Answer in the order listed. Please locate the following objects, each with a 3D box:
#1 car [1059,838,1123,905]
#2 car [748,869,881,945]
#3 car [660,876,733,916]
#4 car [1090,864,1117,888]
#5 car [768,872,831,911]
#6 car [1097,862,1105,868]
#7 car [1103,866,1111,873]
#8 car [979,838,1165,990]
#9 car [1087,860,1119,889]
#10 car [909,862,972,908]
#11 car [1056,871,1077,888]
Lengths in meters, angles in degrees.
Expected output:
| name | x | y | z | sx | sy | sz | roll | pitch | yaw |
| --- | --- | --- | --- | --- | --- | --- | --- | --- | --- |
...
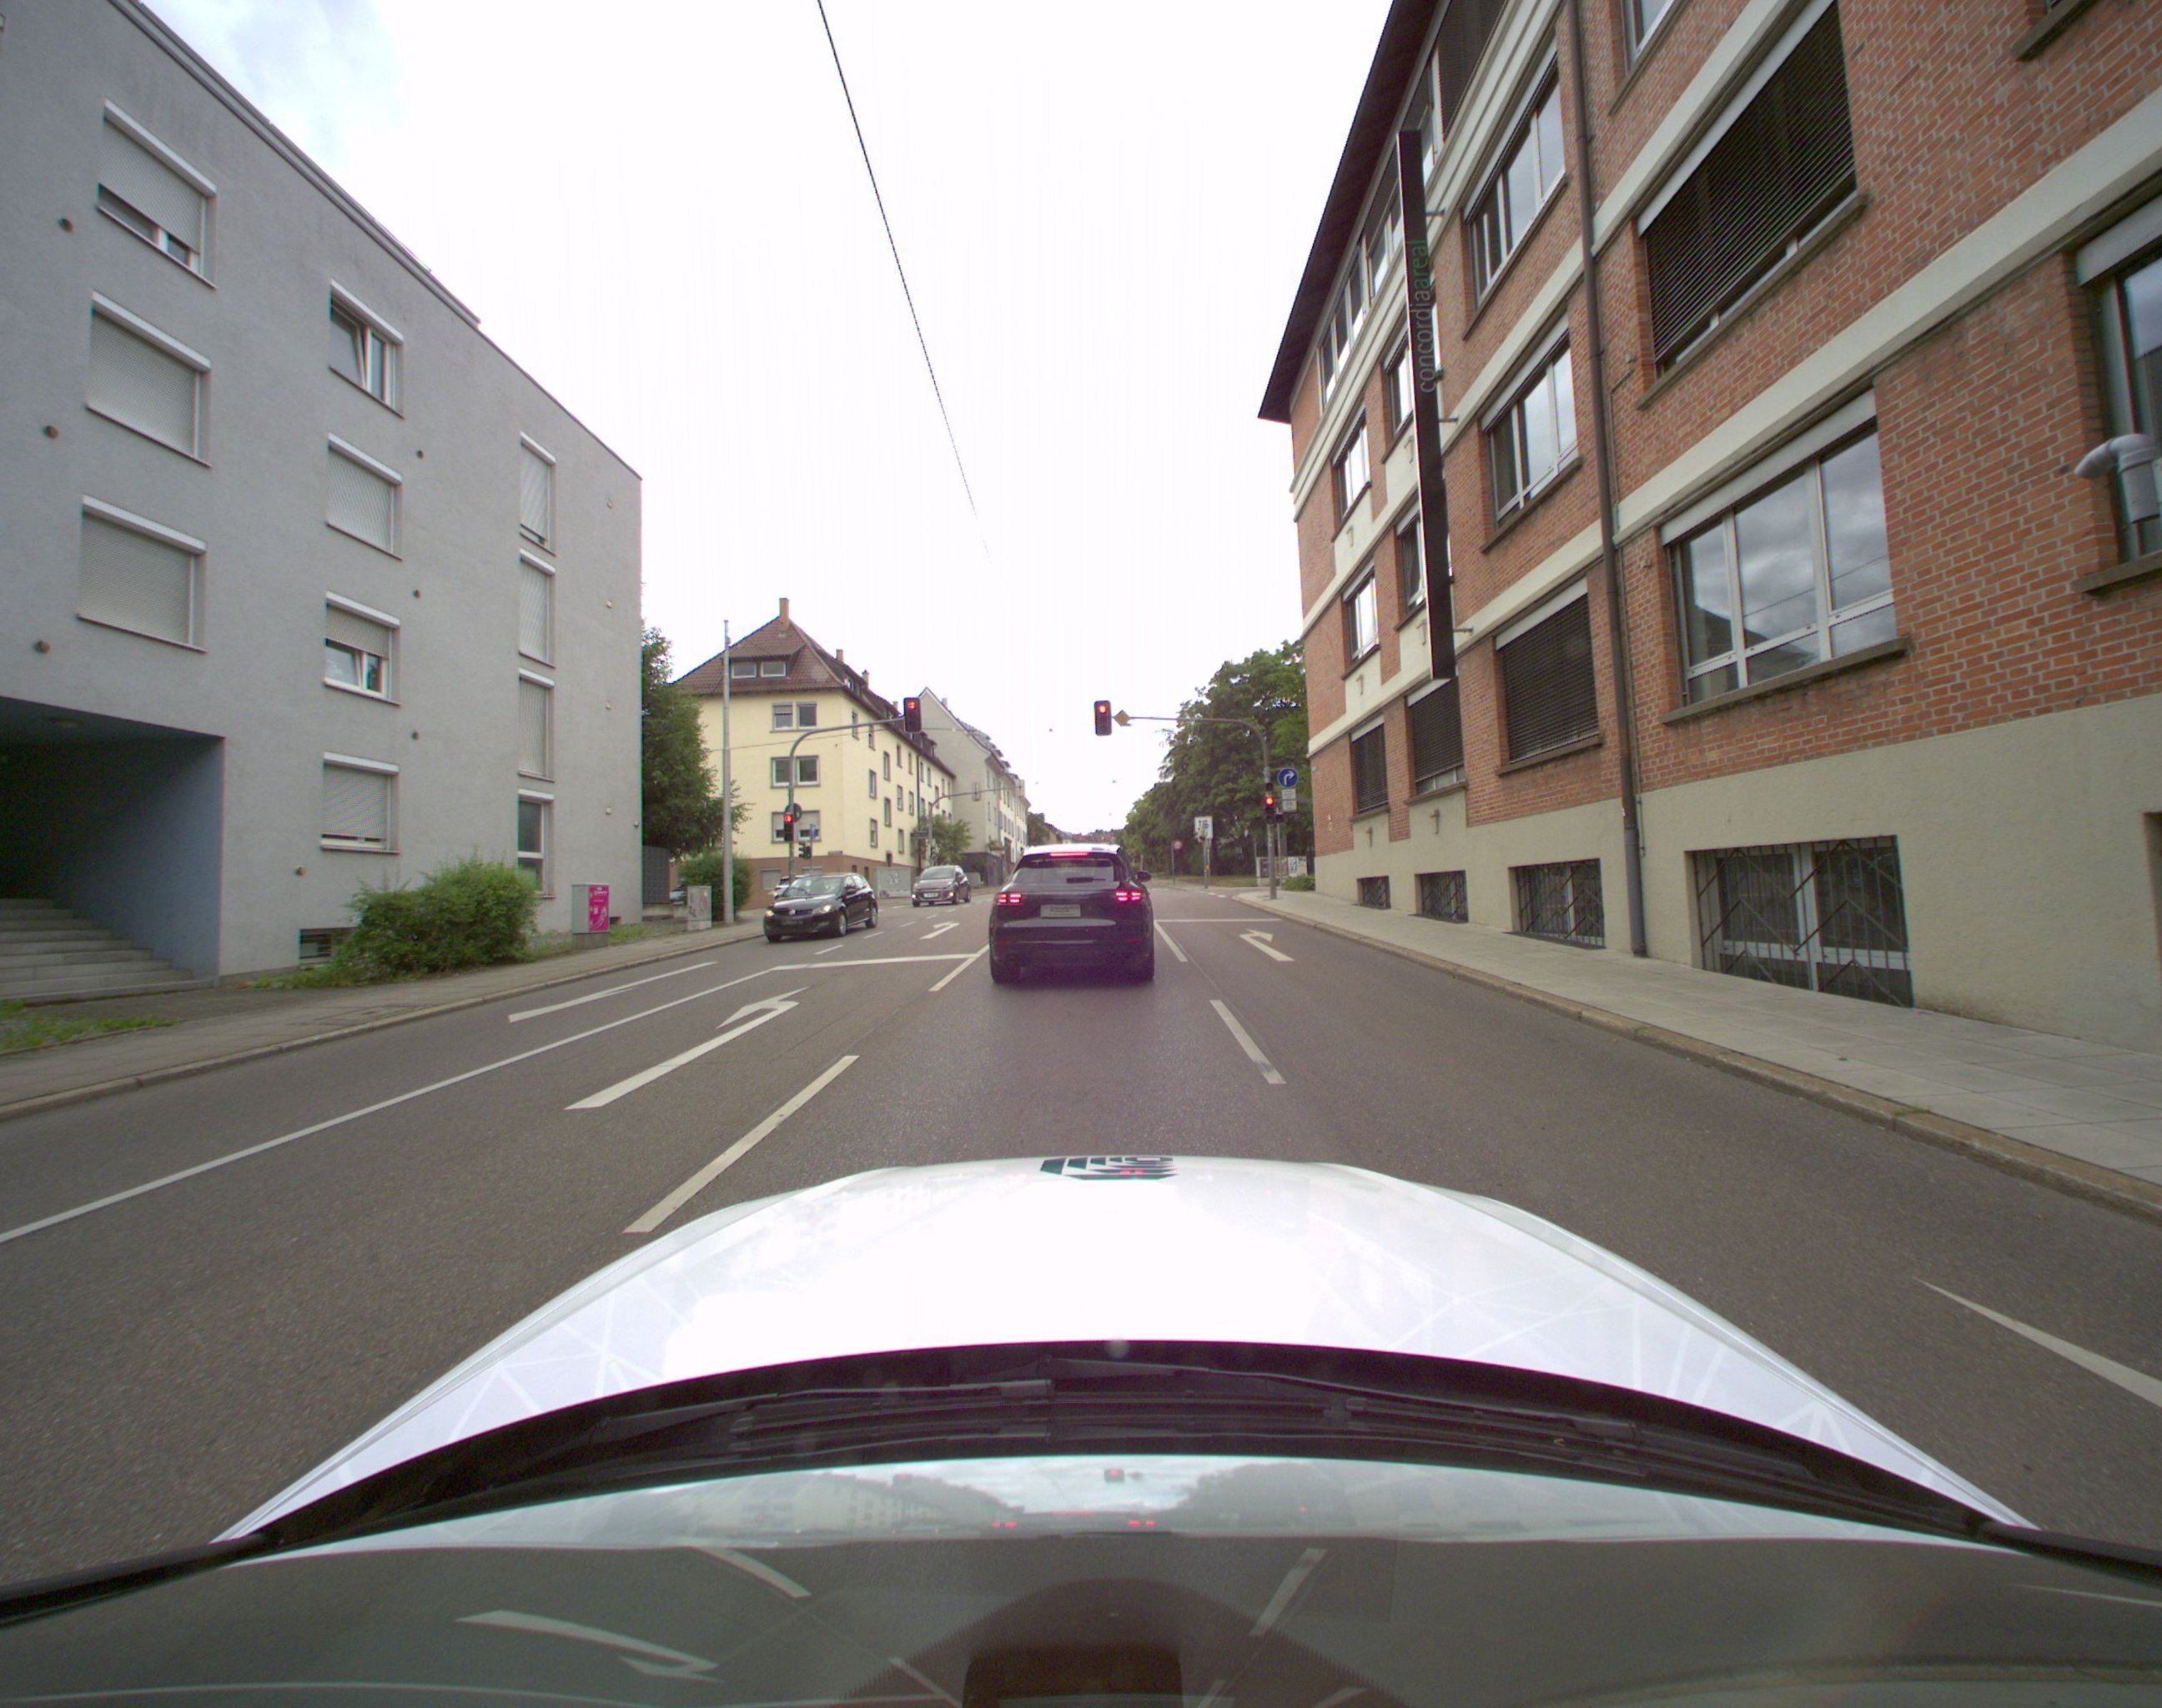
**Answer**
| name | x | y | z | sx | sy | sz | roll | pitch | yaw |
| --- | --- | --- | --- | --- | --- | --- | --- | --- | --- |
| car | 0.383 | 0.541 | 26.952 | 1.957 | 2.042 | 4.137 | -1 | 0 | 2 |
| car | -6.058 | 1.143 | 18.970 | 1.667 | 1.400 | 3.795 | -4 | 0 | 1 |
| car | -18.327 | 1.953 | 39.014 | 1.686 | 1.608 | 3.763 | -4 | 0 | -2 |
| car | 1.633 | 1.536 | 57.571 | 1.820 | 1.605 | 3.861 | -1 | 0 | 2 |
| car | -13.404 | 1.753 | 39.000 | 1.686 | 1.555 | 3.763 | -4 | 0 | -2 |
| car | 5.280 | 2.892 | 215.312 | 1.820 | 1.605 | 4.137 | -1 | 0 | 2 |
| car | 6.068 | 3.609 | 187.470 | 1.820 | 1.605 | 4.137 | -1 | 0 | 2 |
| car | -0.020 | 0.661 | 11.140 | 2.040 | 1.666 | 4.269 | -1 | 0 | 2 |
| car | 1.343 | 1.172 | 48.860 | 1.820 | 1.605 | 4.137 | -1 | 0 | 2 |
| car | -5.615 | 1.204 | 32.993 | 1.697 | 1.587 | 3.937 | -4 | 0 | 1 |
| car | -1.386 | 2.492 | 80.617 | 1.778 | 1.418 | 4.672 | -4 | -1 | 2 |
